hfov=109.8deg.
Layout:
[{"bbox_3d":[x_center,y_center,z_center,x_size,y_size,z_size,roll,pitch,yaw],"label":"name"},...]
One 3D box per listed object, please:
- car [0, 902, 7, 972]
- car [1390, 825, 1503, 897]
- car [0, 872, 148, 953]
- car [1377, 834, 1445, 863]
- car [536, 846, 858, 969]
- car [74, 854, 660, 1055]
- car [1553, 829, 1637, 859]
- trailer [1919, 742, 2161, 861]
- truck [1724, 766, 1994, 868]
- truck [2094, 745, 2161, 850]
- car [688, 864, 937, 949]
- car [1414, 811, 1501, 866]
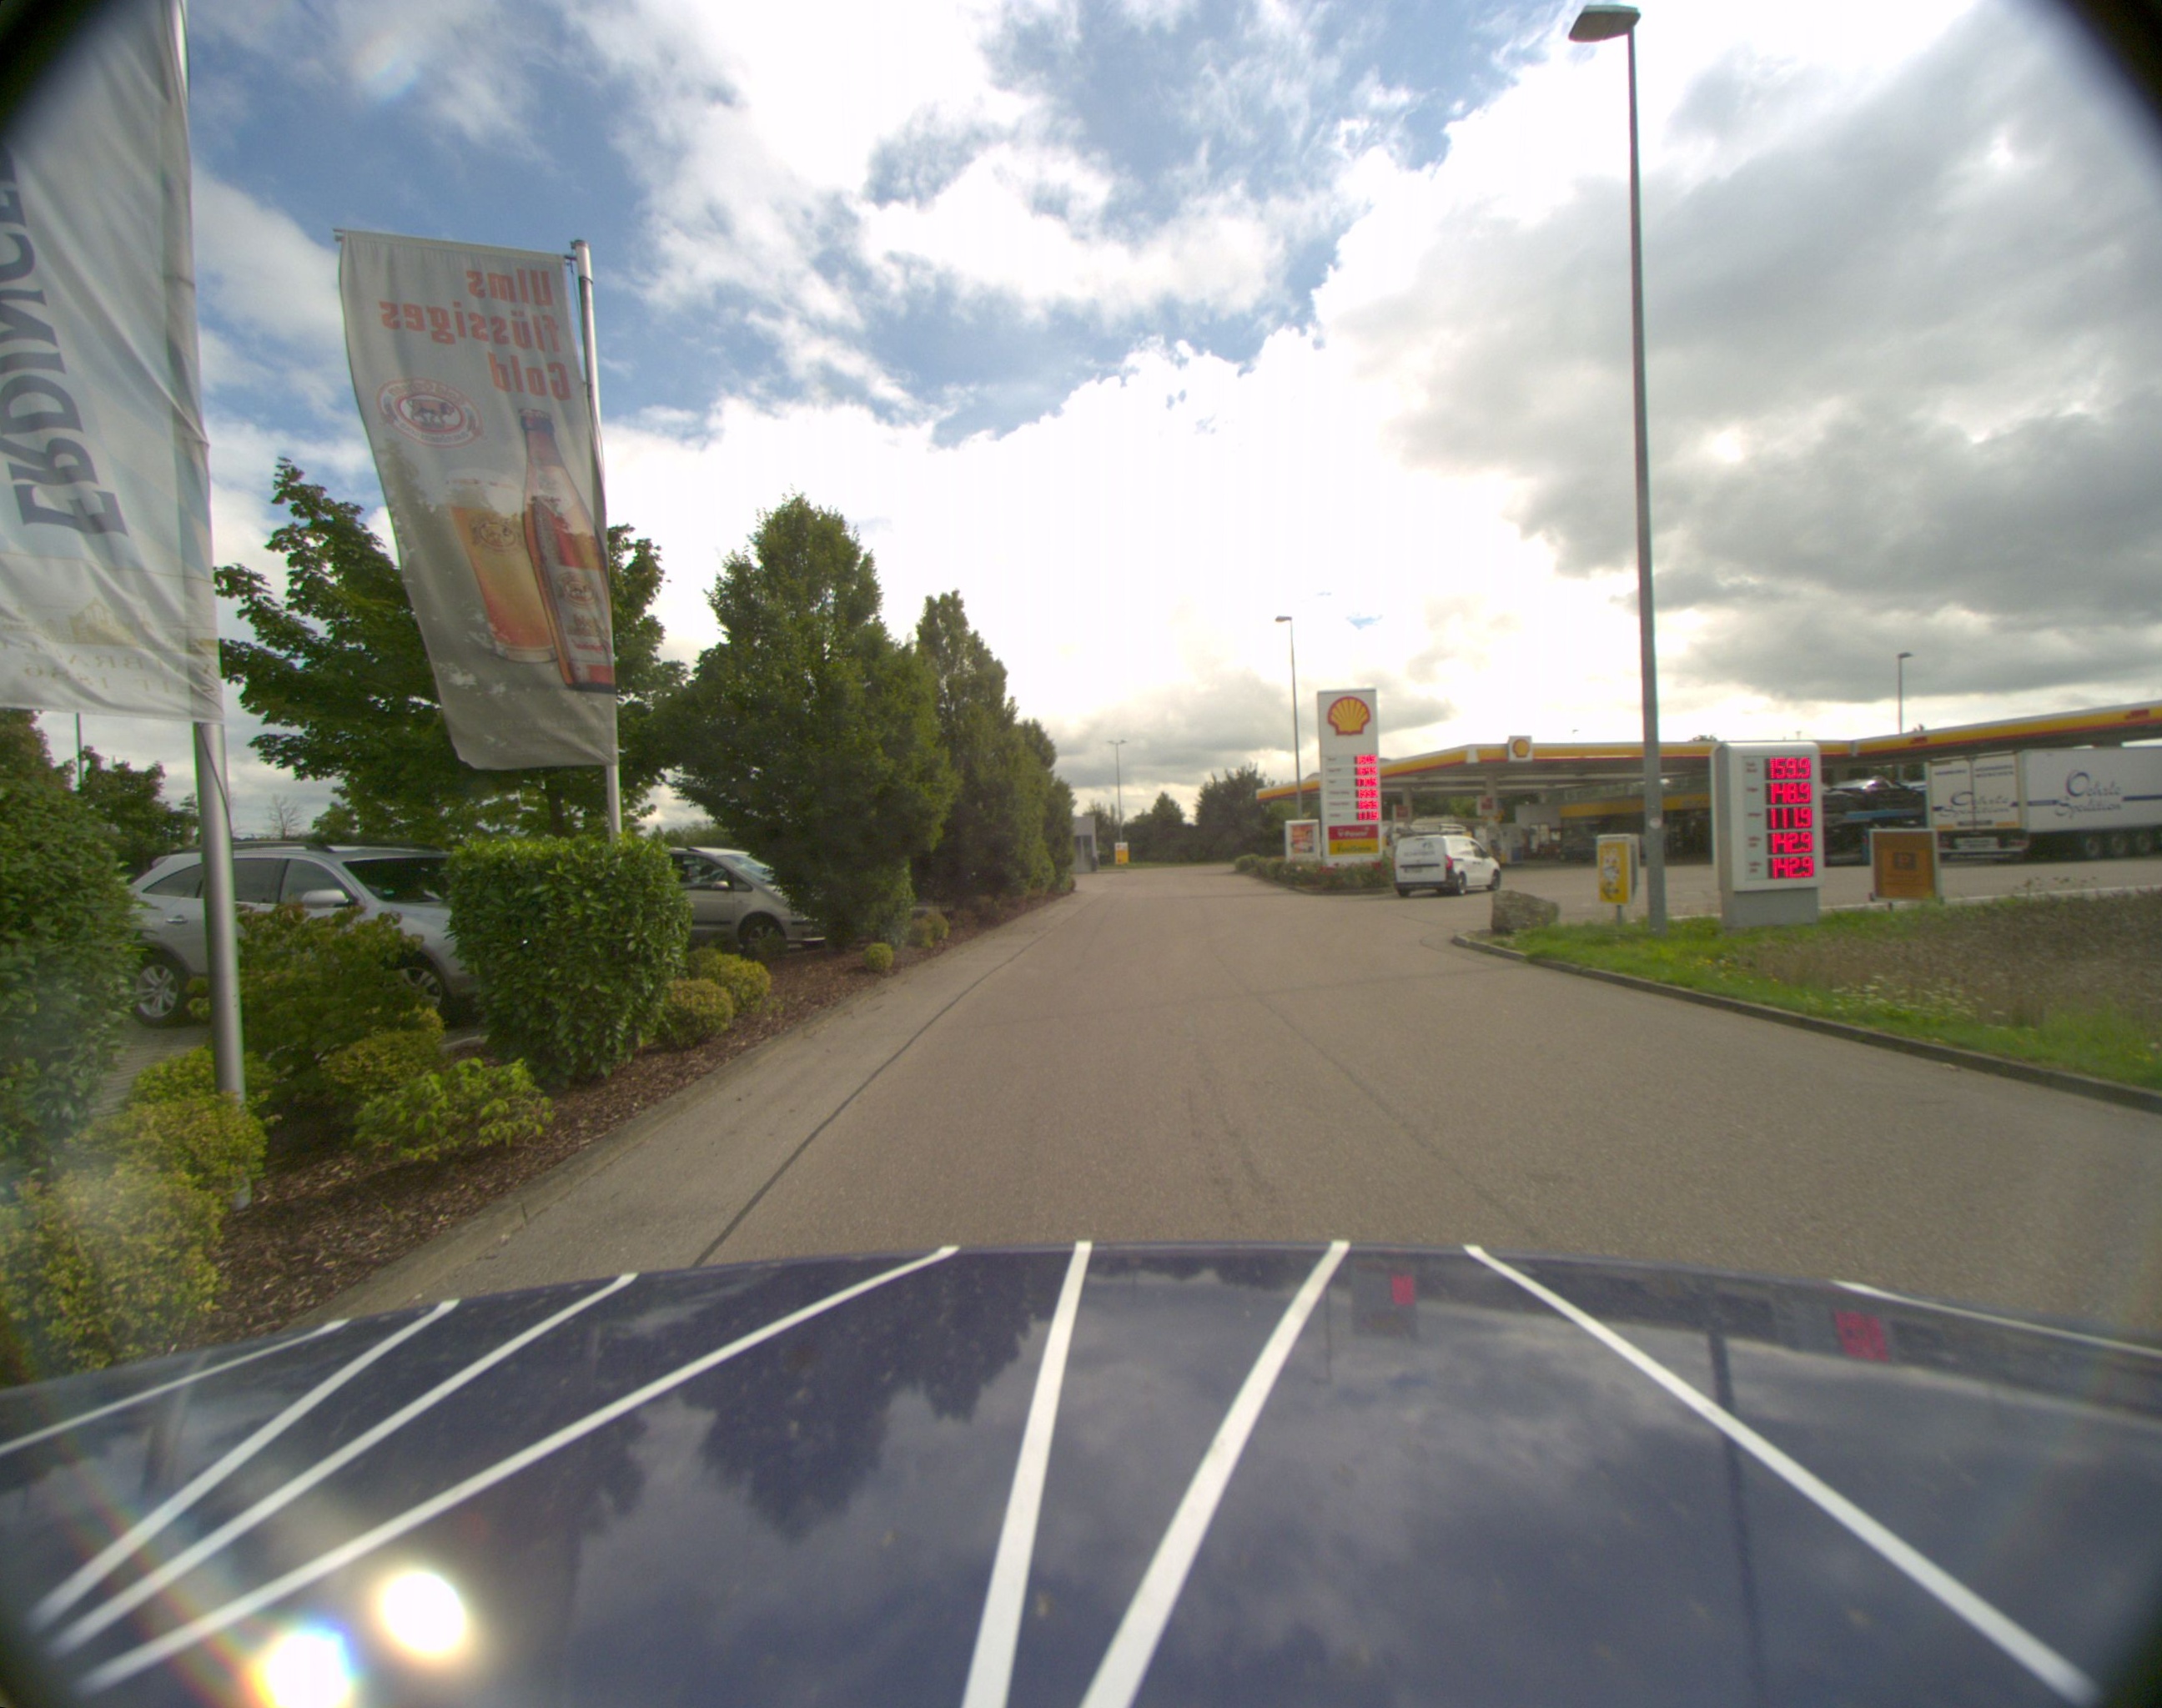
[{"bbox_3d":[-22.972,1.684,14.034,4.271,1.338,1.722,-2,0,6],"label":"car"},{"bbox_3d":[11.103,0.178,22.963,3.889,2.000,1.791,-2,0,-44],"label":"car"},{"bbox_3d":[-23.325,1.286,16.558,3.994,1.562,2.001,-2,0,9],"label":"car"},{"bbox_3d":[19.577,-0.329,45.050,3.968,1.550,1.995,-2,0,-38],"label":"car"},{"bbox_3d":[-6.038,0.818,12.169,4.358,1.706,1.658,-2,0,8],"label":"car"},{"bbox_3d":[-7.133,0.895,7.819,4.672,1.687,1.920,-1,1,10],"label":"car"},{"bbox_3d":[29.257,-0.547,43.368,1.717,1.592,3.757,-3,0,-13],"label":"car"},{"bbox_3d":[38.472,-2.017,28.800,12.850,4.001,2.710,-2,0,-11],"label":"trailer"},{"bbox_3d":[33.924,-1.684,32.988,13.268,3.901,2.747,-3,2,-19],"label":"truck"},{"bbox_3d":[44.770,-2.319,30.063,7.170,4.001,2.710,-2,0,-11],"label":"truck"},{"bbox_3d":[-4.920,0.942,14.259,3.995,1.342,1.726,-2,0,5],"label":"car"},{"bbox_3d":[20.502,-0.855,41.216,5.819,2.770,2.218,-2,0,-43],"label":"car"}]
